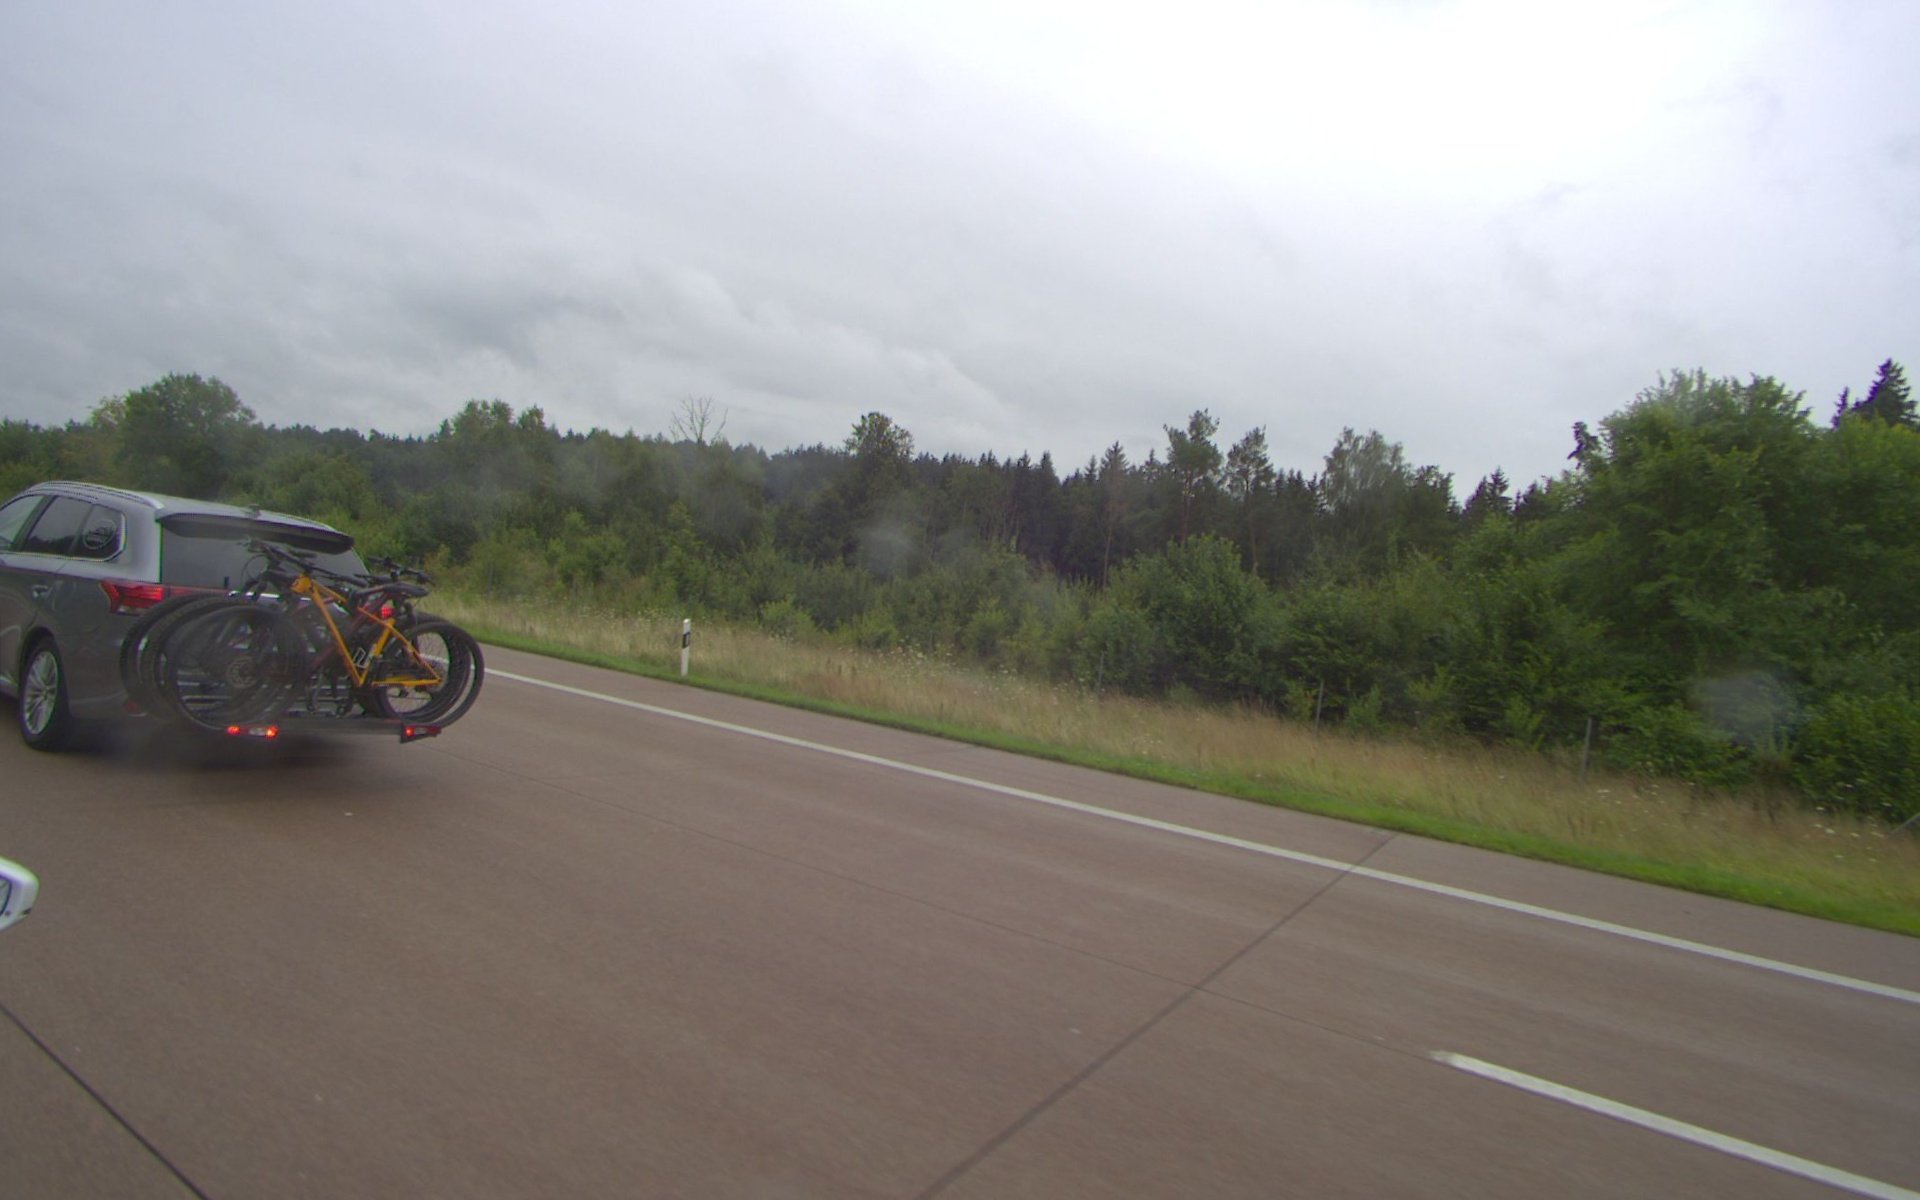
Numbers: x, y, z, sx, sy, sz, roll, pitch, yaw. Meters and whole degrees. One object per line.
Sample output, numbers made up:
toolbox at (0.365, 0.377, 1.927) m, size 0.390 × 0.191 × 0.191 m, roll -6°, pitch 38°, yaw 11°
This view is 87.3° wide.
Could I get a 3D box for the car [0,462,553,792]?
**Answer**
car at (-5.761, 0.008, 7.356) m, size 5.723 × 1.611 × 1.998 m, roll 6°, pitch -2°, yaw 31°
